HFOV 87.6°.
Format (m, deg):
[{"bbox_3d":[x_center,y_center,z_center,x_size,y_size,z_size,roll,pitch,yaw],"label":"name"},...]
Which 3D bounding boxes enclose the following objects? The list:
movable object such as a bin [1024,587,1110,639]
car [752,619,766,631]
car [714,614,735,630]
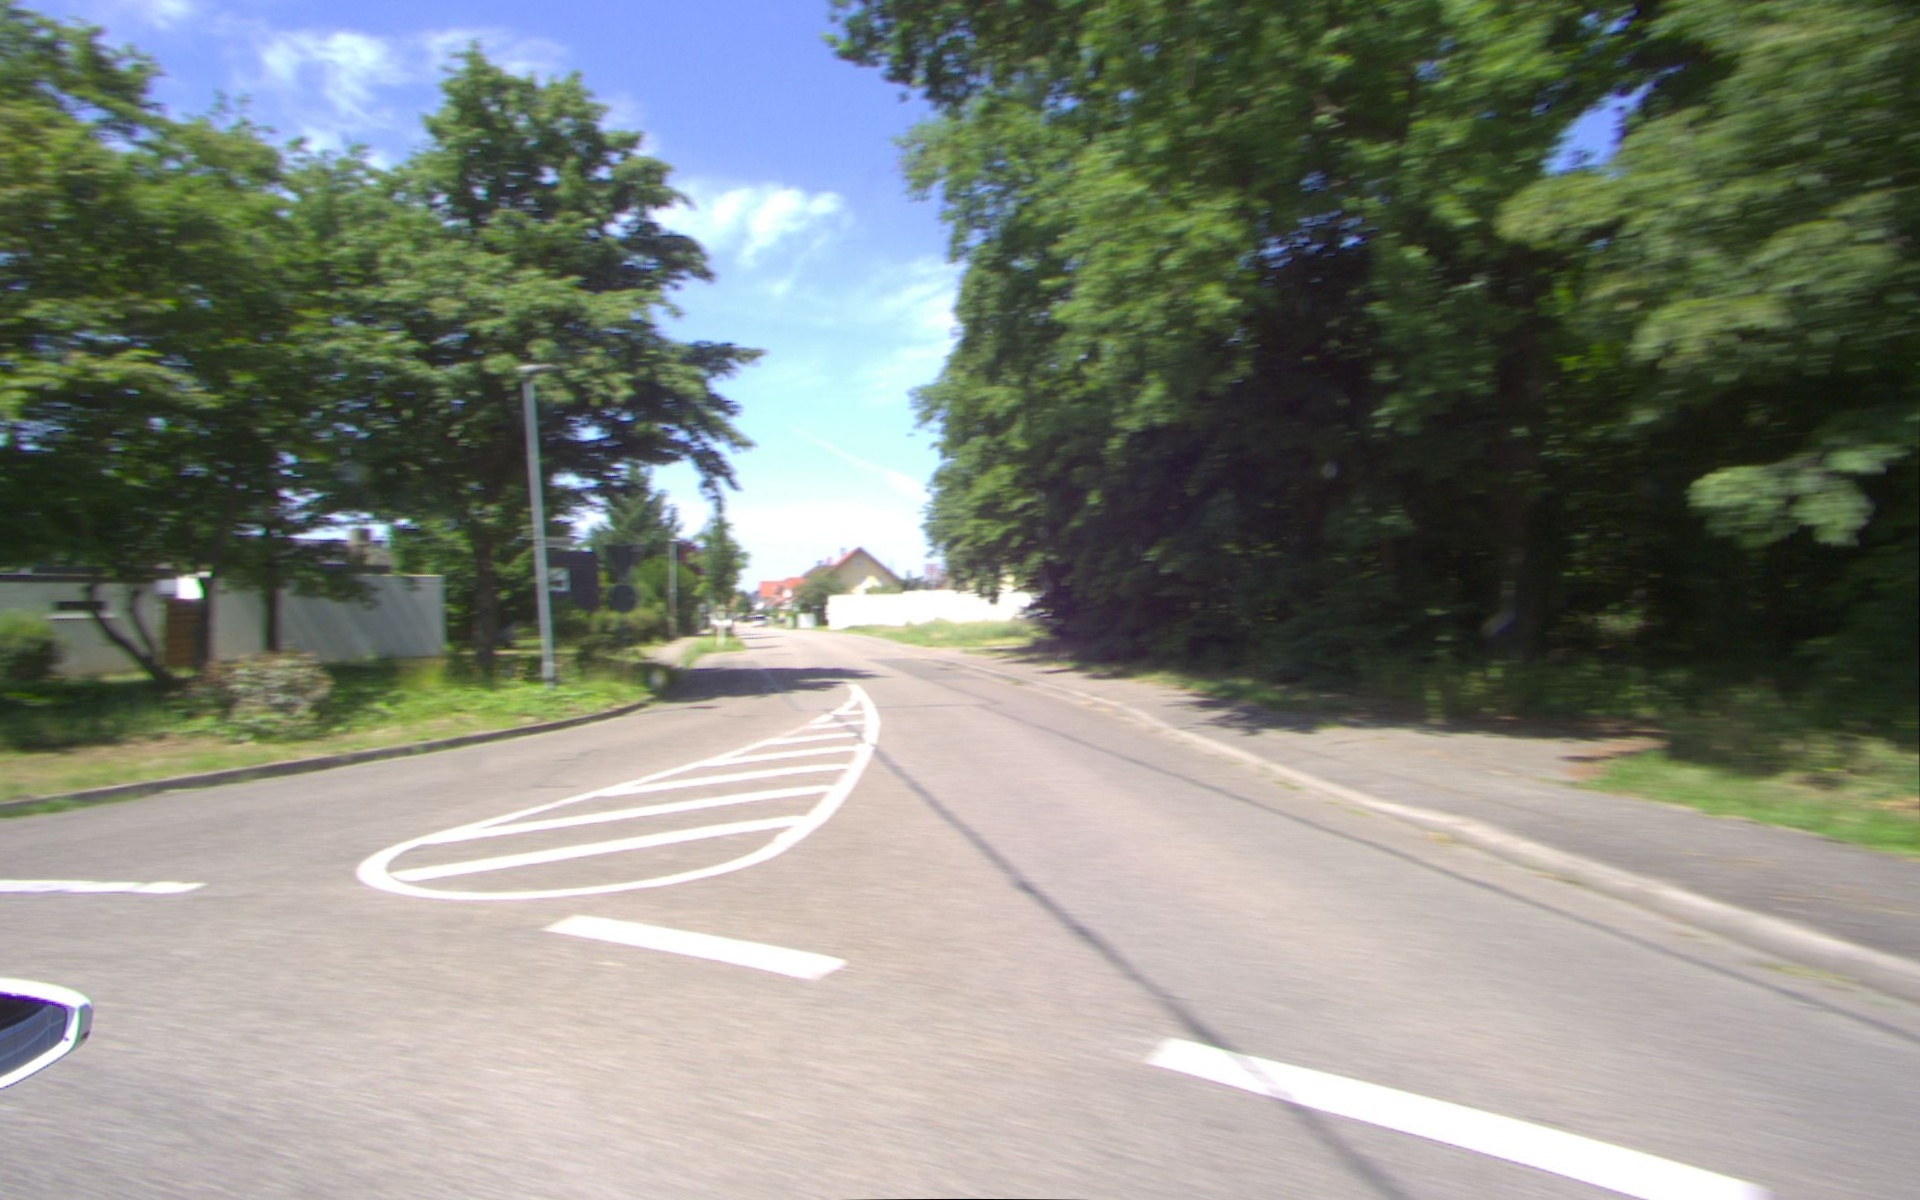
[{"bbox_3d":[4.980,0.614,47.470,2.477,2.306,5.233,0,0,-13],"label":"movable object such as a bin"},{"bbox_3d":[-29.765,3.684,148.208,1.808,1.682,3.997,-1,-2,-14],"label":"car"},{"bbox_3d":[-23.707,2.257,100.756,1.728,1.498,3.790,-1,-2,-19],"label":"car"}]
